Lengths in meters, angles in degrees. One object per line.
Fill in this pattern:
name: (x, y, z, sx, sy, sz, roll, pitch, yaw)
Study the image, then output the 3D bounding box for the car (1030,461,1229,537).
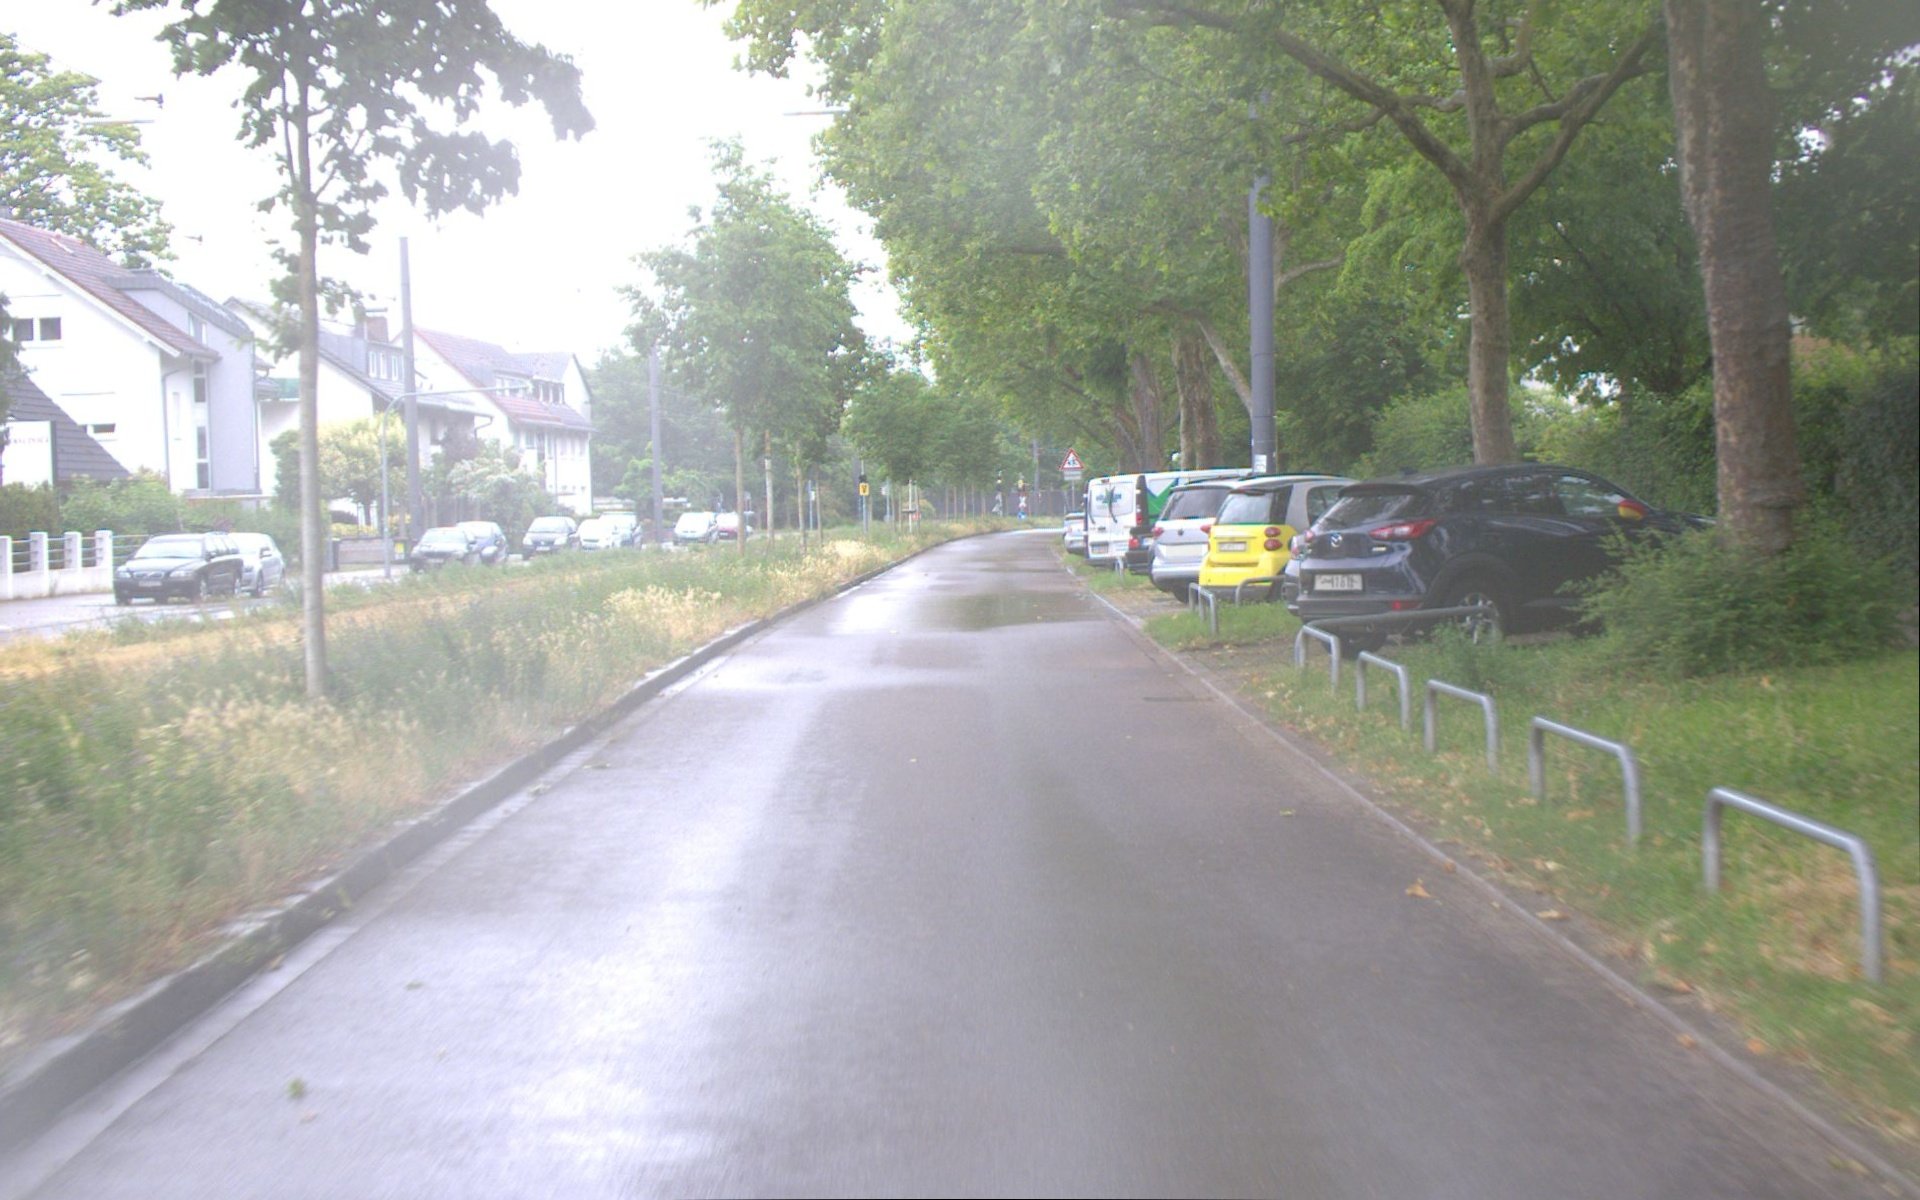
car: (4.186, -2.489, 84.726, 4.546, 1.539, 1.888, -5, 3, -31)

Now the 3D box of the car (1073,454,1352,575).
car: (4.786, -1.632, 64.946, 5.014, 2.006, 2.000, -4, 3, -34)

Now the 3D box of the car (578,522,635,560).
car: (-14.365, -2.415, 139.829, 1.796, 1.483, 3.597, 1, 2, 2)

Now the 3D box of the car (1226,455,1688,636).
car: (4.588, -0.511, 31.538, 4.051, 1.413, 1.742, -4, 1, -36)

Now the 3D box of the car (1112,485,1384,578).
car: (4.616, -1.097, 54.781, 4.293, 1.379, 1.740, -2, 2, -39)

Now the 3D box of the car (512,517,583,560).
car: (-15.348, -2.304, 128.065, 1.994, 1.511, 4.205, 1, 2, 2)

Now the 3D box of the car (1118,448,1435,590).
car: (4.206, -1.082, 45.436, 4.036, 1.635, 1.654, -4, 1, -37)

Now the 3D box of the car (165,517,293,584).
car: (-16.370, -1.133, 77.175, 1.993, 1.406, 3.972, 0, 2, 0)

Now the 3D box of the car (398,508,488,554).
car: (-15.870, -2.141, 105.720, 1.994, 1.346, 4.240, 1, 2, 2)

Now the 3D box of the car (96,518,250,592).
car: (-16.296, -0.961, 71.372, 1.994, 1.450, 4.531, 1, 2, 2)

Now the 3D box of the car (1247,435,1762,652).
car: (4.460, -0.484, 28.048, 3.793, 1.527, 1.883, -4, 2, -32)

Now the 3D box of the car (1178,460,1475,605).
car: (4.181, -0.768, 39.268, 2.895, 1.461, 1.604, -4, 1, -28)

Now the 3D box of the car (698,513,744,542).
car: (-12.799, -3.877, 184.114, 1.994, 1.483, 4.205, 1, 2, 2)

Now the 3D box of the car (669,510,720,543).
car: (-13.133, -3.638, 170.279, 1.994, 1.575, 4.517, 1, 2, 2)

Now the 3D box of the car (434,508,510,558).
car: (-15.702, -2.170, 110.782, 1.874, 1.545, 3.870, 0, 2, 1)

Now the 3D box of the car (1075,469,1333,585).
car: (3.657, -1.090, 51.392, 3.395, 1.513, 1.850, -4, 1, -37)

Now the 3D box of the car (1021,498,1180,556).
car: (4.488, -2.331, 109.372, 4.761, 1.662, 1.995, -3, 2, -35)
